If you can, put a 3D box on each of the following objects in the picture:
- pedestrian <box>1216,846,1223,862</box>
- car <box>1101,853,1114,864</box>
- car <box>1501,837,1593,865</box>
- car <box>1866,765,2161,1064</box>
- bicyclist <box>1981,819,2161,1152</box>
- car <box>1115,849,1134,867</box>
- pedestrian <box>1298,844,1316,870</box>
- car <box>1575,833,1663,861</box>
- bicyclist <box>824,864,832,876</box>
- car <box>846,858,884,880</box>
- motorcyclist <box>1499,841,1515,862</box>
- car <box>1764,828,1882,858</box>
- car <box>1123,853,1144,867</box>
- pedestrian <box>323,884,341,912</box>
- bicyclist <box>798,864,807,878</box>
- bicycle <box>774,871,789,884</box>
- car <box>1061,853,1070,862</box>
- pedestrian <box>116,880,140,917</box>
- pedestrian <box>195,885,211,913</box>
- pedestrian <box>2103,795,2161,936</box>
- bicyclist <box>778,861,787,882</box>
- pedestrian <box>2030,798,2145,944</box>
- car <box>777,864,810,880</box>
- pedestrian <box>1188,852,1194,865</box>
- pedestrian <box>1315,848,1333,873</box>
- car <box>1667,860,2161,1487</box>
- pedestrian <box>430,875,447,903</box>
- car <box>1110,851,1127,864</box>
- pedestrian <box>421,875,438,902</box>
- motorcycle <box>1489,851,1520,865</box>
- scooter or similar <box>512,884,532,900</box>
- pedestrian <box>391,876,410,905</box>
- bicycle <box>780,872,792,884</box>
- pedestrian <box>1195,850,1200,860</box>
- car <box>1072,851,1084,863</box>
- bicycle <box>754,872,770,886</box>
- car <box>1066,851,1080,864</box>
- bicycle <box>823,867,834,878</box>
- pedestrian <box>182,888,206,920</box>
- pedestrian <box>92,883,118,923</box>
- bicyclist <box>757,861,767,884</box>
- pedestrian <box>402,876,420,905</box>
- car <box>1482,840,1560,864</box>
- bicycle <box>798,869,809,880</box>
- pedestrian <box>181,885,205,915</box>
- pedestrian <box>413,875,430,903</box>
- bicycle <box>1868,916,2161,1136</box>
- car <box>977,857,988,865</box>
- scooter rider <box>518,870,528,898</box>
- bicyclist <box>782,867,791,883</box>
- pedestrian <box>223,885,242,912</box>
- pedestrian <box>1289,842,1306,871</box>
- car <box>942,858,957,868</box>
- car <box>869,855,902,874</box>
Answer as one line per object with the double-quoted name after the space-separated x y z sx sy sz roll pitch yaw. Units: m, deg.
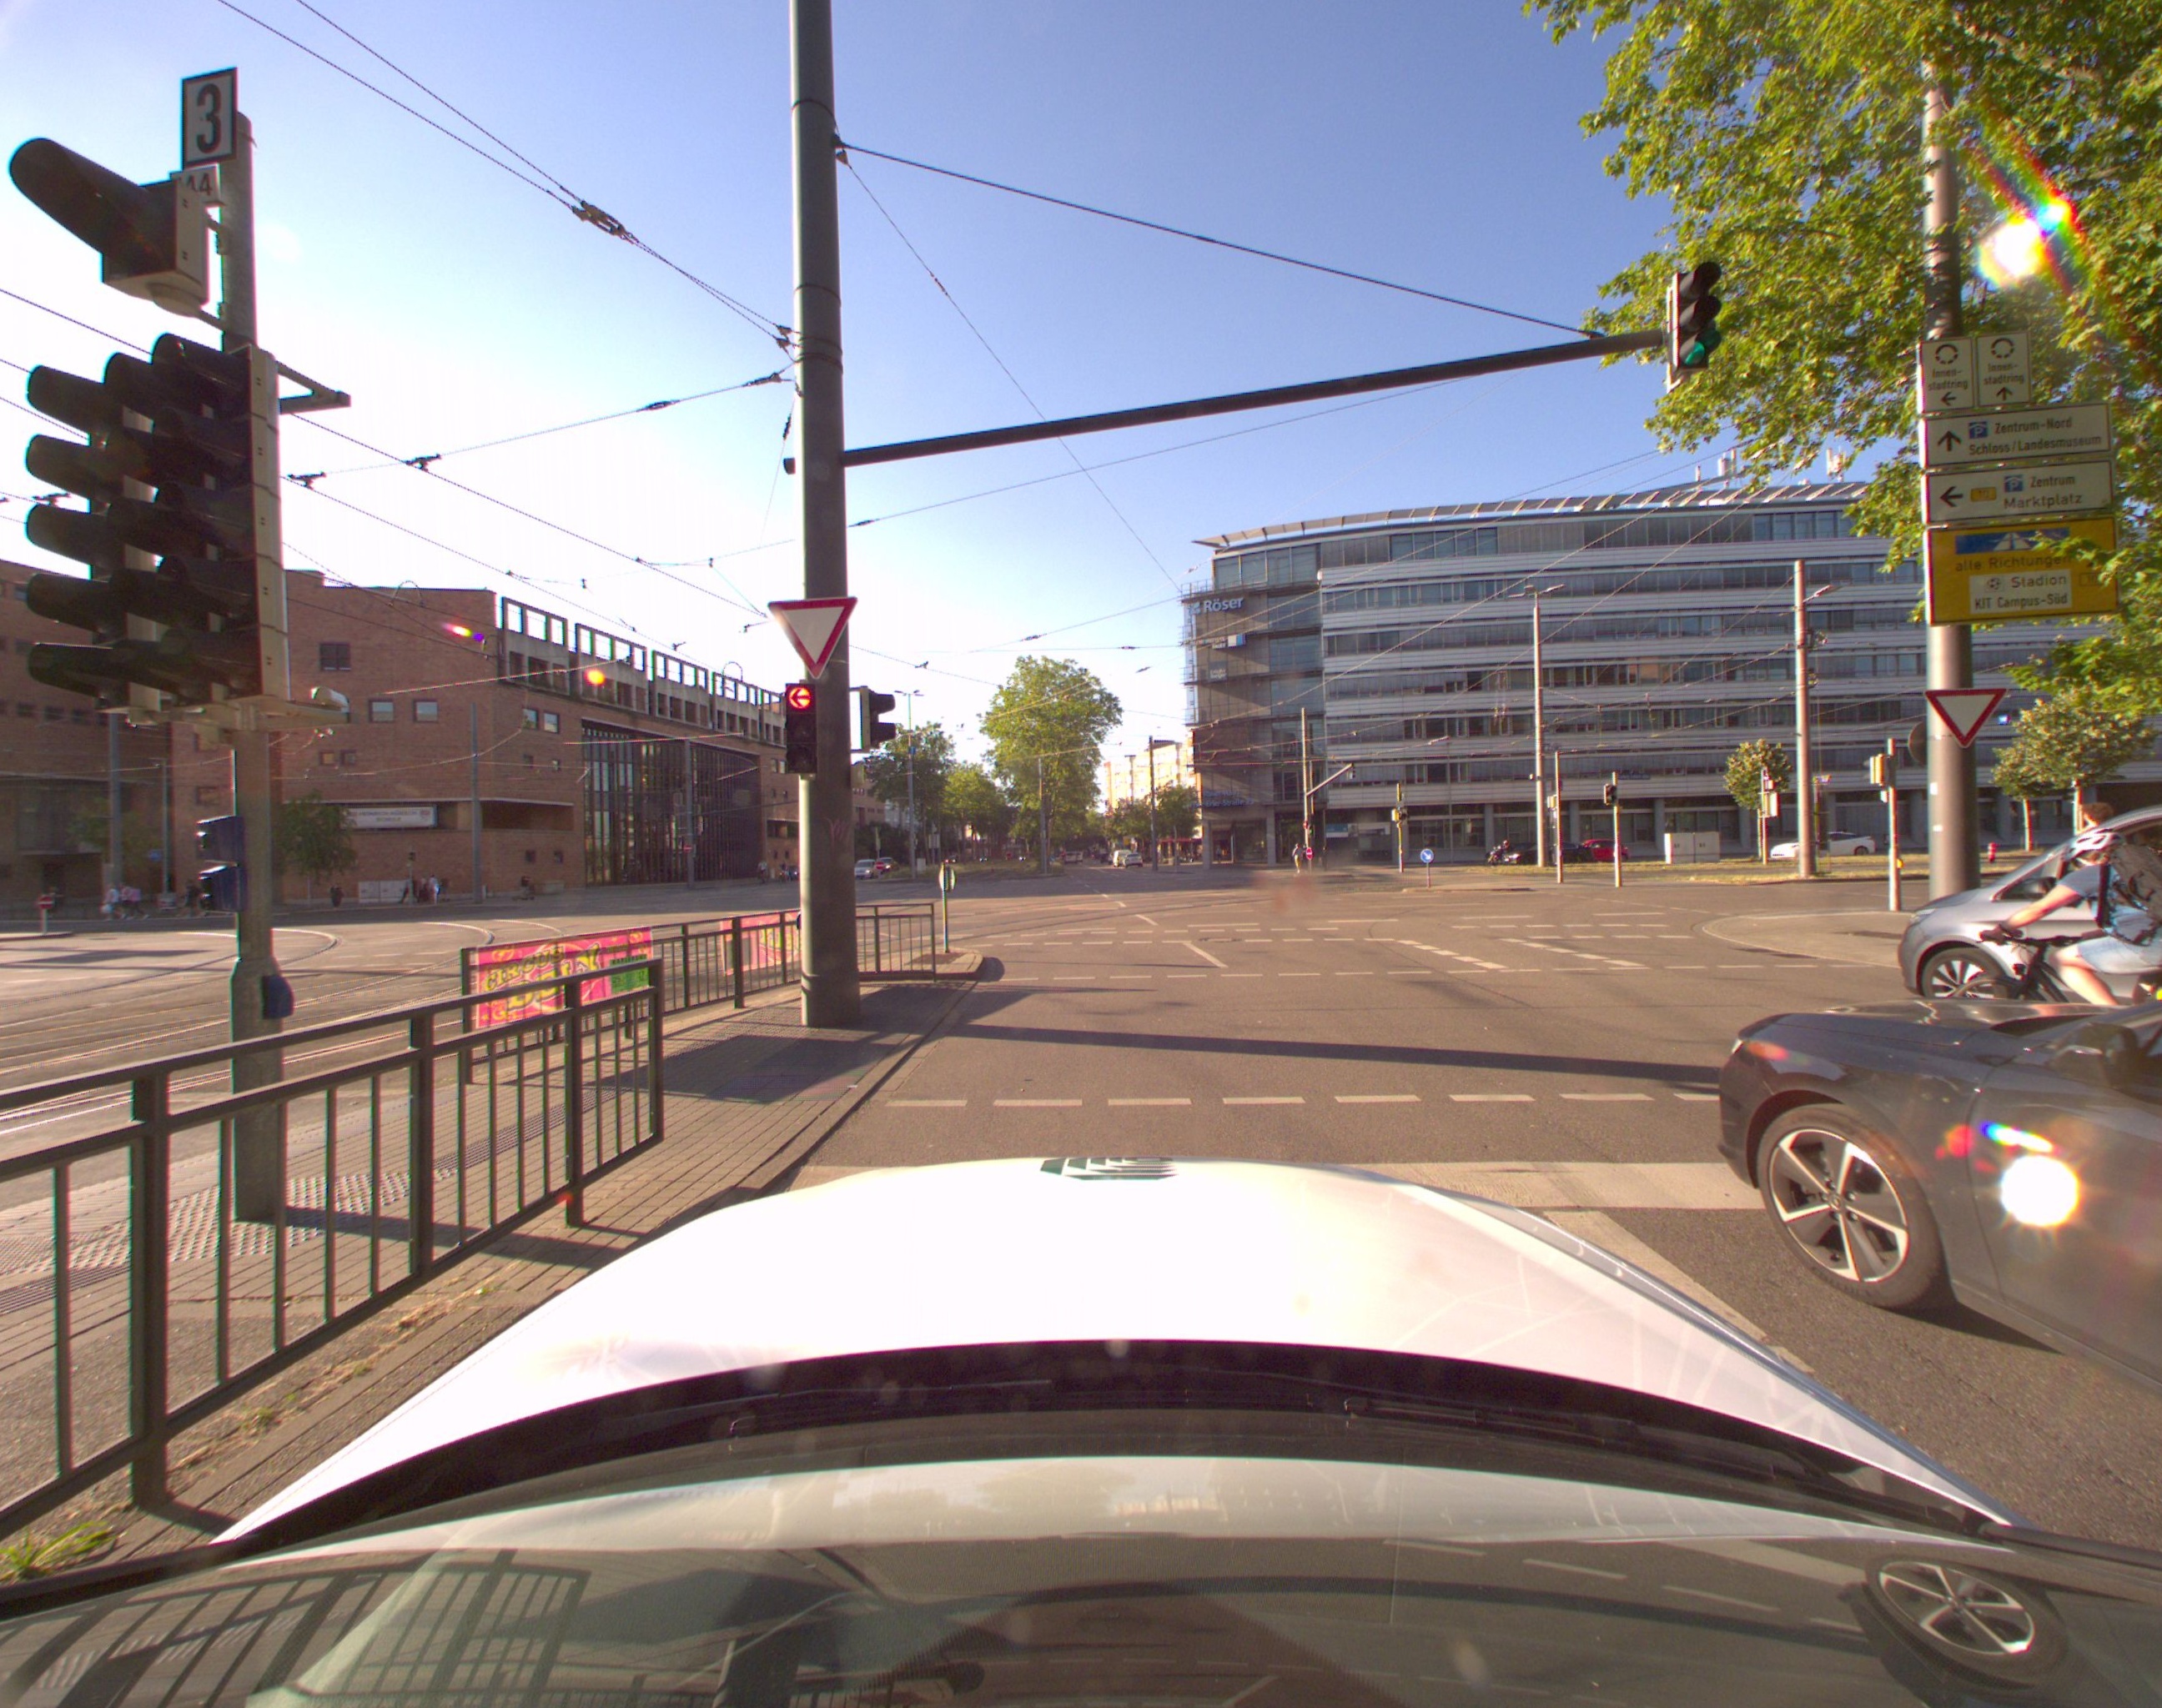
13.115 0.001 77.300 0.608 1.507 0.580 -2 0 9 "pedestrian"
4.093 0.642 126.774 1.986 1.618 4.002 -2 0 2 "car"
26.403 -0.176 46.205 4.136 1.398 1.789 -2 0 7 "car"
8.093 0.371 4.866 1.929 1.979 5.099 -2 0 1 "car"
5.786 0.659 4.535 0.629 1.692 0.780 -2 0 1 "bicyclist"
4.744 0.440 89.636 1.986 1.860 4.002 -2 0 2 "car"
14.715 0.180 53.037 0.908 1.685 1.037 -2 0 6 "pedestrian"
31.957 -0.399 48.473 3.966 1.393 1.789 -4 0 7 "car"
-24.519 1.550 78.974 0.503 1.210 0.581 -2 0 1 "bicyclist"
-18.005 1.212 67.949 1.987 1.640 4.001 -2 0 1 "car"
25.629 -0.145 48.996 0.708 1.275 0.460 -2 0 5 "motorcyclist"
40.798 -0.597 44.879 4.581 1.336 1.789 -4 0 7 "car"
5.290 0.611 82.819 1.986 1.376 4.002 -2 0 2 "car"
-41.836 2.447 45.496 0.490 1.506 0.547 -2 0 -15 "pedestrian"
-24.386 1.506 71.349 0.503 1.179 0.581 -2 0 1 "bicyclist"
-23.394 1.856 63.672 0.471 0.963 1.576 -2 0 2 "bicycle"
-3.713 0.784 197.370 1.986 2.013 4.001 -2 0 1 "car"
-42.416 1.958 36.256 0.593 1.614 0.591 -2 0 -44 "pedestrian"
-46.487 2.384 43.136 0.583 1.463 0.537 -2 0 45 "pedestrian"
13.995 0.133 10.545 0.641 1.777 0.769 -2 0 25 "pedestrian"
-23.401 1.400 63.851 0.456 1.603 0.581 -2 0 1 "bicyclist"
13.333 0.220 10.818 0.636 1.845 0.819 -2 0 25 "pedestrian"
-27.606 1.692 78.259 1.661 1.436 4.001 -2 0 1 "car"
14.167 0.558 104.859 0.741 1.714 0.612 -2 0 1 "pedestrian"
15.775 0.427 52.845 0.943 1.564 0.899 -2 0 8 "pedestrian"
3.329 0.741 1.356 1.733 1.414 4.272 -1 0 2 "car"
-39.717 2.169 50.326 0.572 1.683 0.546 -2 0 -7 "pedestrian"
4.821 0.466 105.292 1.986 1.618 4.002 -2 0 2 "car"
-40.817 2.164 50.993 0.591 1.683 0.502 -2 0 -3 "pedestrian"
25.479 0.233 49.013 1.560 0.810 0.468 -2 0 6 "motorcycle"
-33.727 2.274 49.147 0.956 0.899 0.173 -2 0 -45 "scooter or similar"
-41.174 2.186 49.282 0.619 1.683 0.649 -2 0 -7 "pedestrian"
-24.749 2.032 68.358 0.466 0.963 1.320 -2 0 2 "bicycle"
15.695 0.142 109.841 0.575 1.289 0.910 -2 0 2 "pedestrian"
-0.489 0.506 143.340 1.986 1.912 4.002 -2 0 2 "car"
-24.555 1.905 62.667 0.540 0.963 1.587 -2 0 2 "bicycle"
-1.208 0.476 125.550 1.953 1.848 5.333 -2 0 2 "car"
-24.513 1.781 79.134 0.490 0.963 1.487 -2 0 2 "bicycle"
-41.591 2.318 38.186 0.562 1.453 0.618 -2 0 30 "pedestrian"
-42.364 2.121 35.344 0.551 1.648 0.594 -2 0 -35 "pedestrian"
-24.586 1.402 62.776 0.534 1.731 0.581 -2 0 1 "bicyclist"
-39.922 2.191 48.533 0.546 1.683 0.593 -2 0 5 "pedestrian"
29.197 -0.160 54.133 4.136 1.398 1.789 -2 0 7 "car"
-24.388 1.777 71.528 0.449 0.963 1.348 -2 0 2 "bicycle"
-40.911 2.117 37.513 0.596 1.339 0.686 -2 0 37 "pedestrian"
-40.541 2.152 50.072 0.547 1.683 0.572 -2 0 -9 "pedestrian"
5.794 0.935 4.785 0.558 0.981 1.871 -2 0 2 "bicycle"
-23.084 1.635 191.531 1.986 1.816 4.002 -2 0 2 "car"
-33.726 1.803 49.202 0.441 1.647 0.226 -2 0 -44 "scooter rider"
-24.750 1.737 68.367 0.503 1.304 0.581 -2 0 1 "bicyclist"
-45.771 2.416 43.939 0.549 1.427 0.563 -2 0 31 "pedestrian"
13.829 0.172 52.078 0.860 1.788 0.872 -2 0 4 "pedestrian"
-24.876 1.643 153.945 1.986 1.816 4.002 -2 0 2 "car"
-18.116 0.955 75.524 1.987 1.640 4.001 -2 0 1 "car"
